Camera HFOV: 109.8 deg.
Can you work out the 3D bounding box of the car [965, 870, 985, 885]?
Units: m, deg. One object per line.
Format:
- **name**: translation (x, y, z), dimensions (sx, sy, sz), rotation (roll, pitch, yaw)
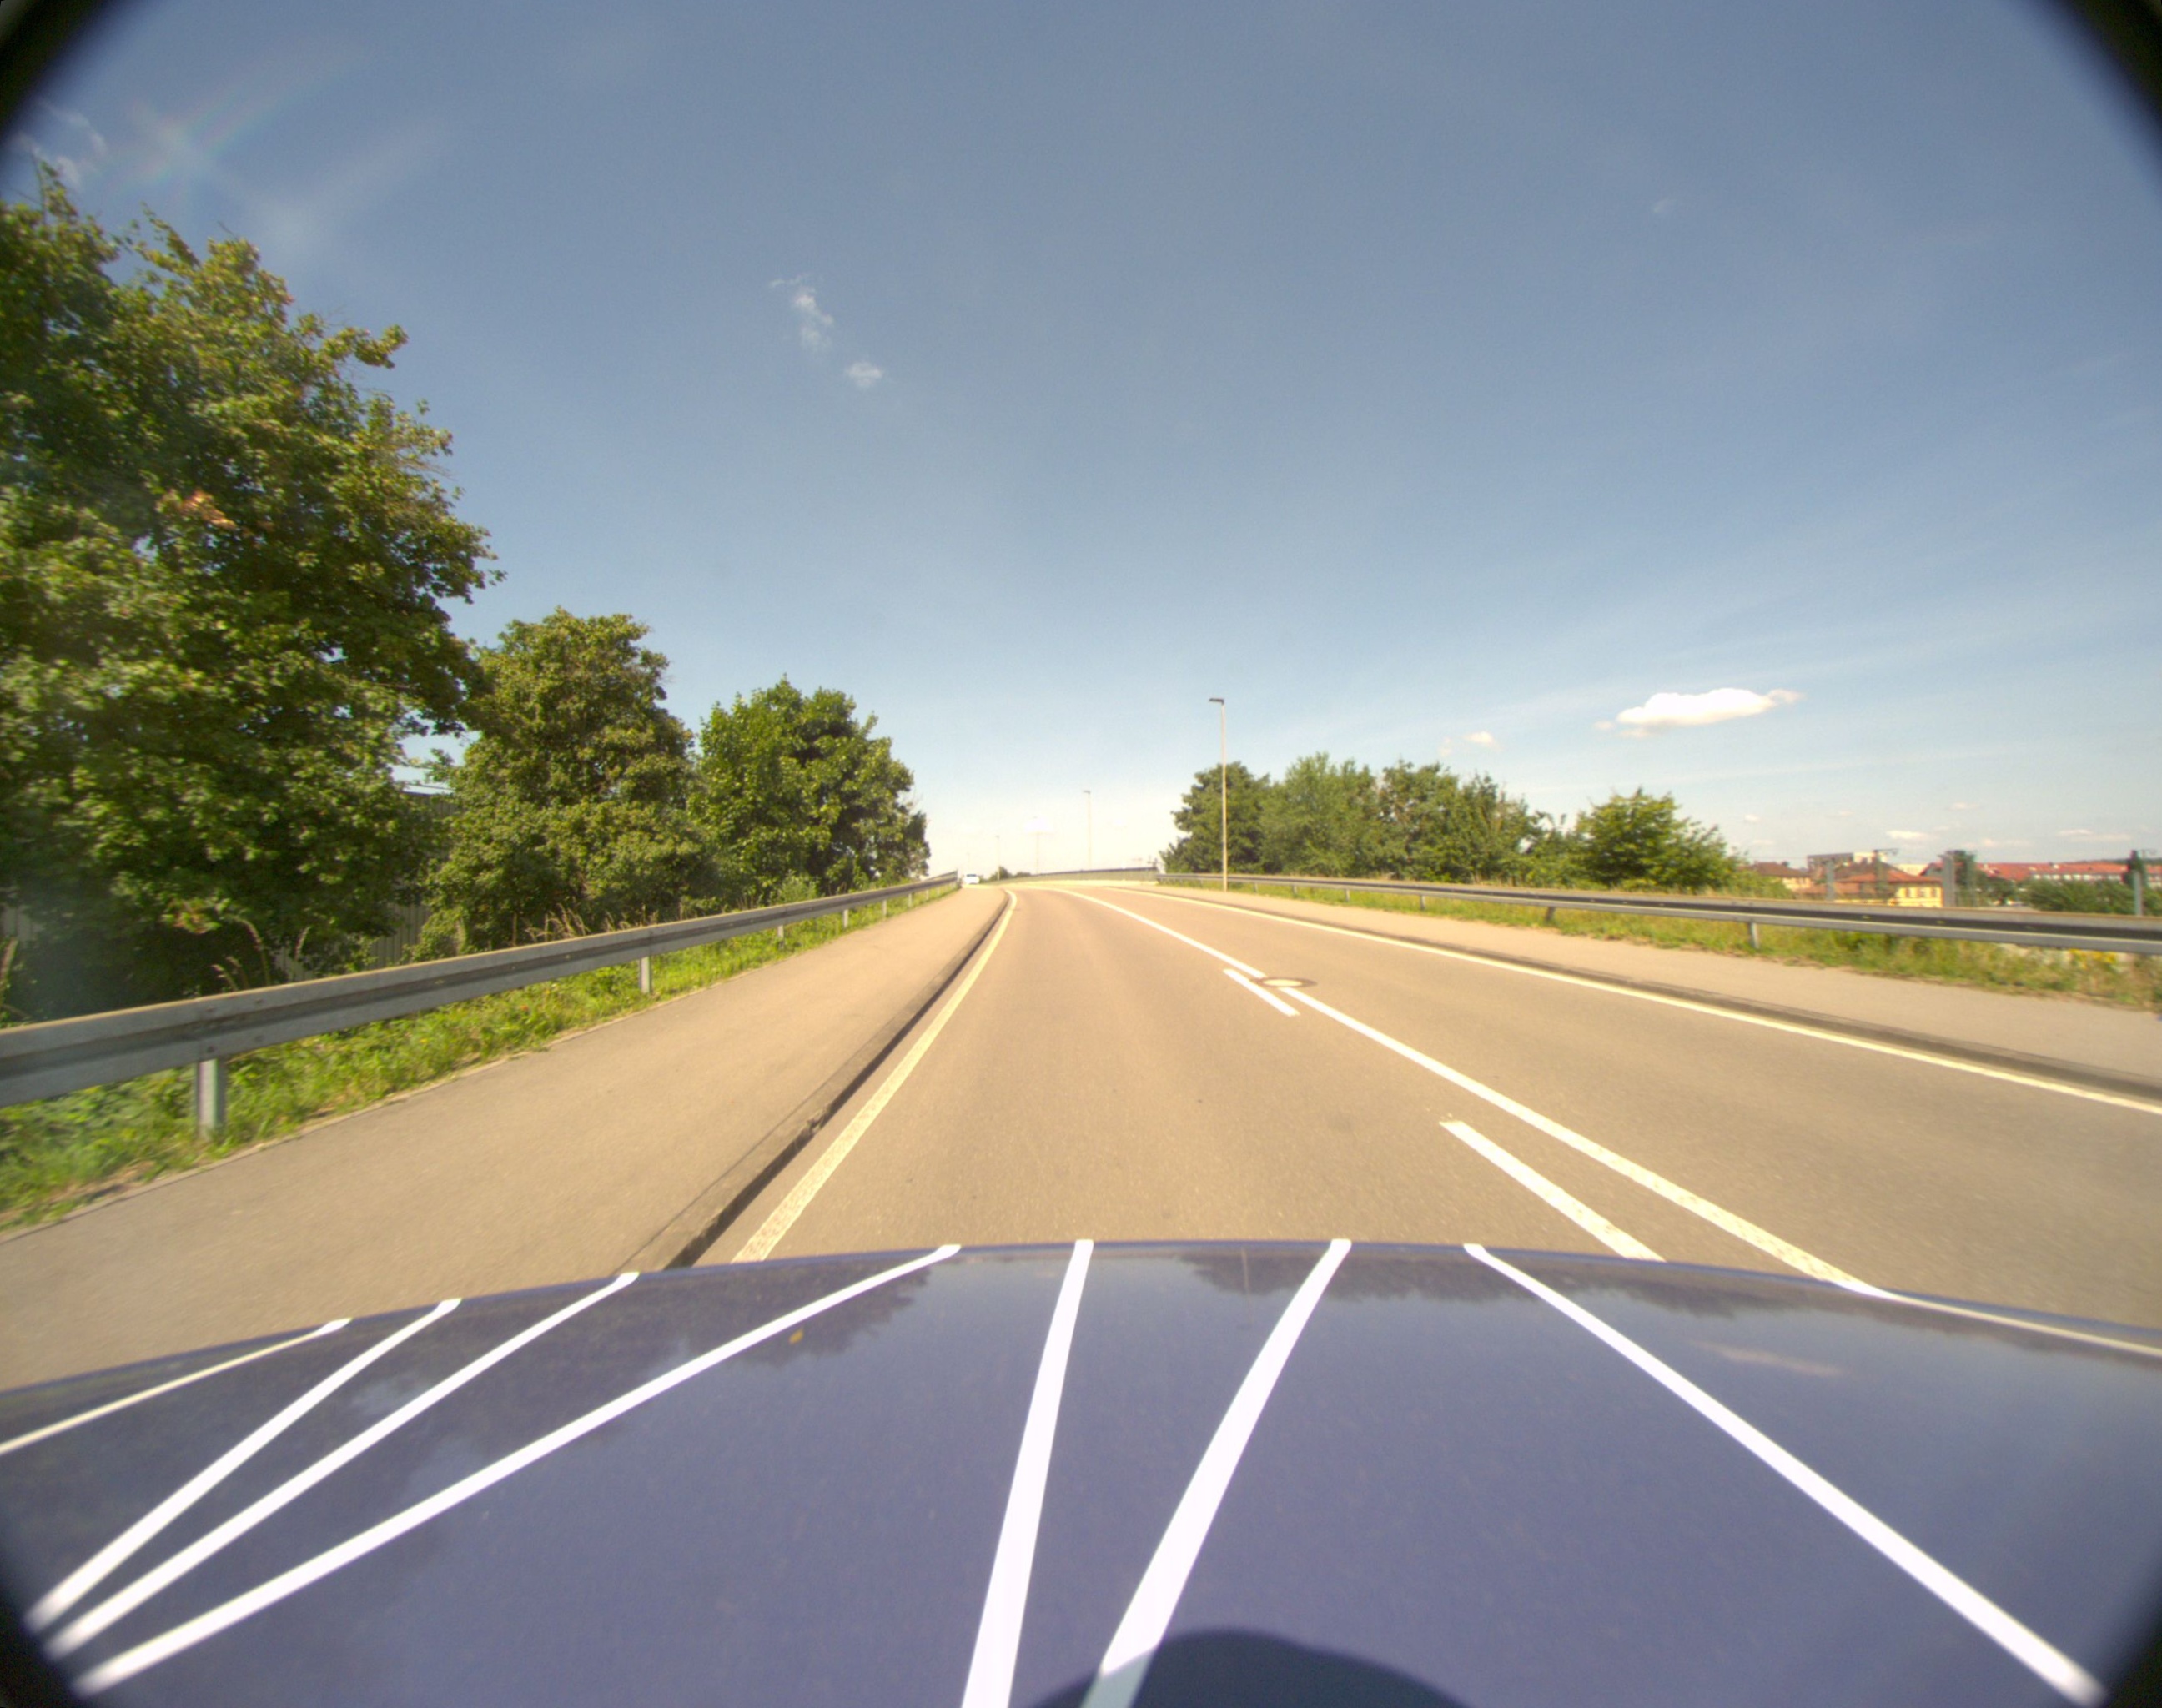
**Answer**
- **car**: translation (-14.050, 3.131, 100.507), dimensions (2.095, 1.750, 4.279), rotation (-3, -1, -13)
